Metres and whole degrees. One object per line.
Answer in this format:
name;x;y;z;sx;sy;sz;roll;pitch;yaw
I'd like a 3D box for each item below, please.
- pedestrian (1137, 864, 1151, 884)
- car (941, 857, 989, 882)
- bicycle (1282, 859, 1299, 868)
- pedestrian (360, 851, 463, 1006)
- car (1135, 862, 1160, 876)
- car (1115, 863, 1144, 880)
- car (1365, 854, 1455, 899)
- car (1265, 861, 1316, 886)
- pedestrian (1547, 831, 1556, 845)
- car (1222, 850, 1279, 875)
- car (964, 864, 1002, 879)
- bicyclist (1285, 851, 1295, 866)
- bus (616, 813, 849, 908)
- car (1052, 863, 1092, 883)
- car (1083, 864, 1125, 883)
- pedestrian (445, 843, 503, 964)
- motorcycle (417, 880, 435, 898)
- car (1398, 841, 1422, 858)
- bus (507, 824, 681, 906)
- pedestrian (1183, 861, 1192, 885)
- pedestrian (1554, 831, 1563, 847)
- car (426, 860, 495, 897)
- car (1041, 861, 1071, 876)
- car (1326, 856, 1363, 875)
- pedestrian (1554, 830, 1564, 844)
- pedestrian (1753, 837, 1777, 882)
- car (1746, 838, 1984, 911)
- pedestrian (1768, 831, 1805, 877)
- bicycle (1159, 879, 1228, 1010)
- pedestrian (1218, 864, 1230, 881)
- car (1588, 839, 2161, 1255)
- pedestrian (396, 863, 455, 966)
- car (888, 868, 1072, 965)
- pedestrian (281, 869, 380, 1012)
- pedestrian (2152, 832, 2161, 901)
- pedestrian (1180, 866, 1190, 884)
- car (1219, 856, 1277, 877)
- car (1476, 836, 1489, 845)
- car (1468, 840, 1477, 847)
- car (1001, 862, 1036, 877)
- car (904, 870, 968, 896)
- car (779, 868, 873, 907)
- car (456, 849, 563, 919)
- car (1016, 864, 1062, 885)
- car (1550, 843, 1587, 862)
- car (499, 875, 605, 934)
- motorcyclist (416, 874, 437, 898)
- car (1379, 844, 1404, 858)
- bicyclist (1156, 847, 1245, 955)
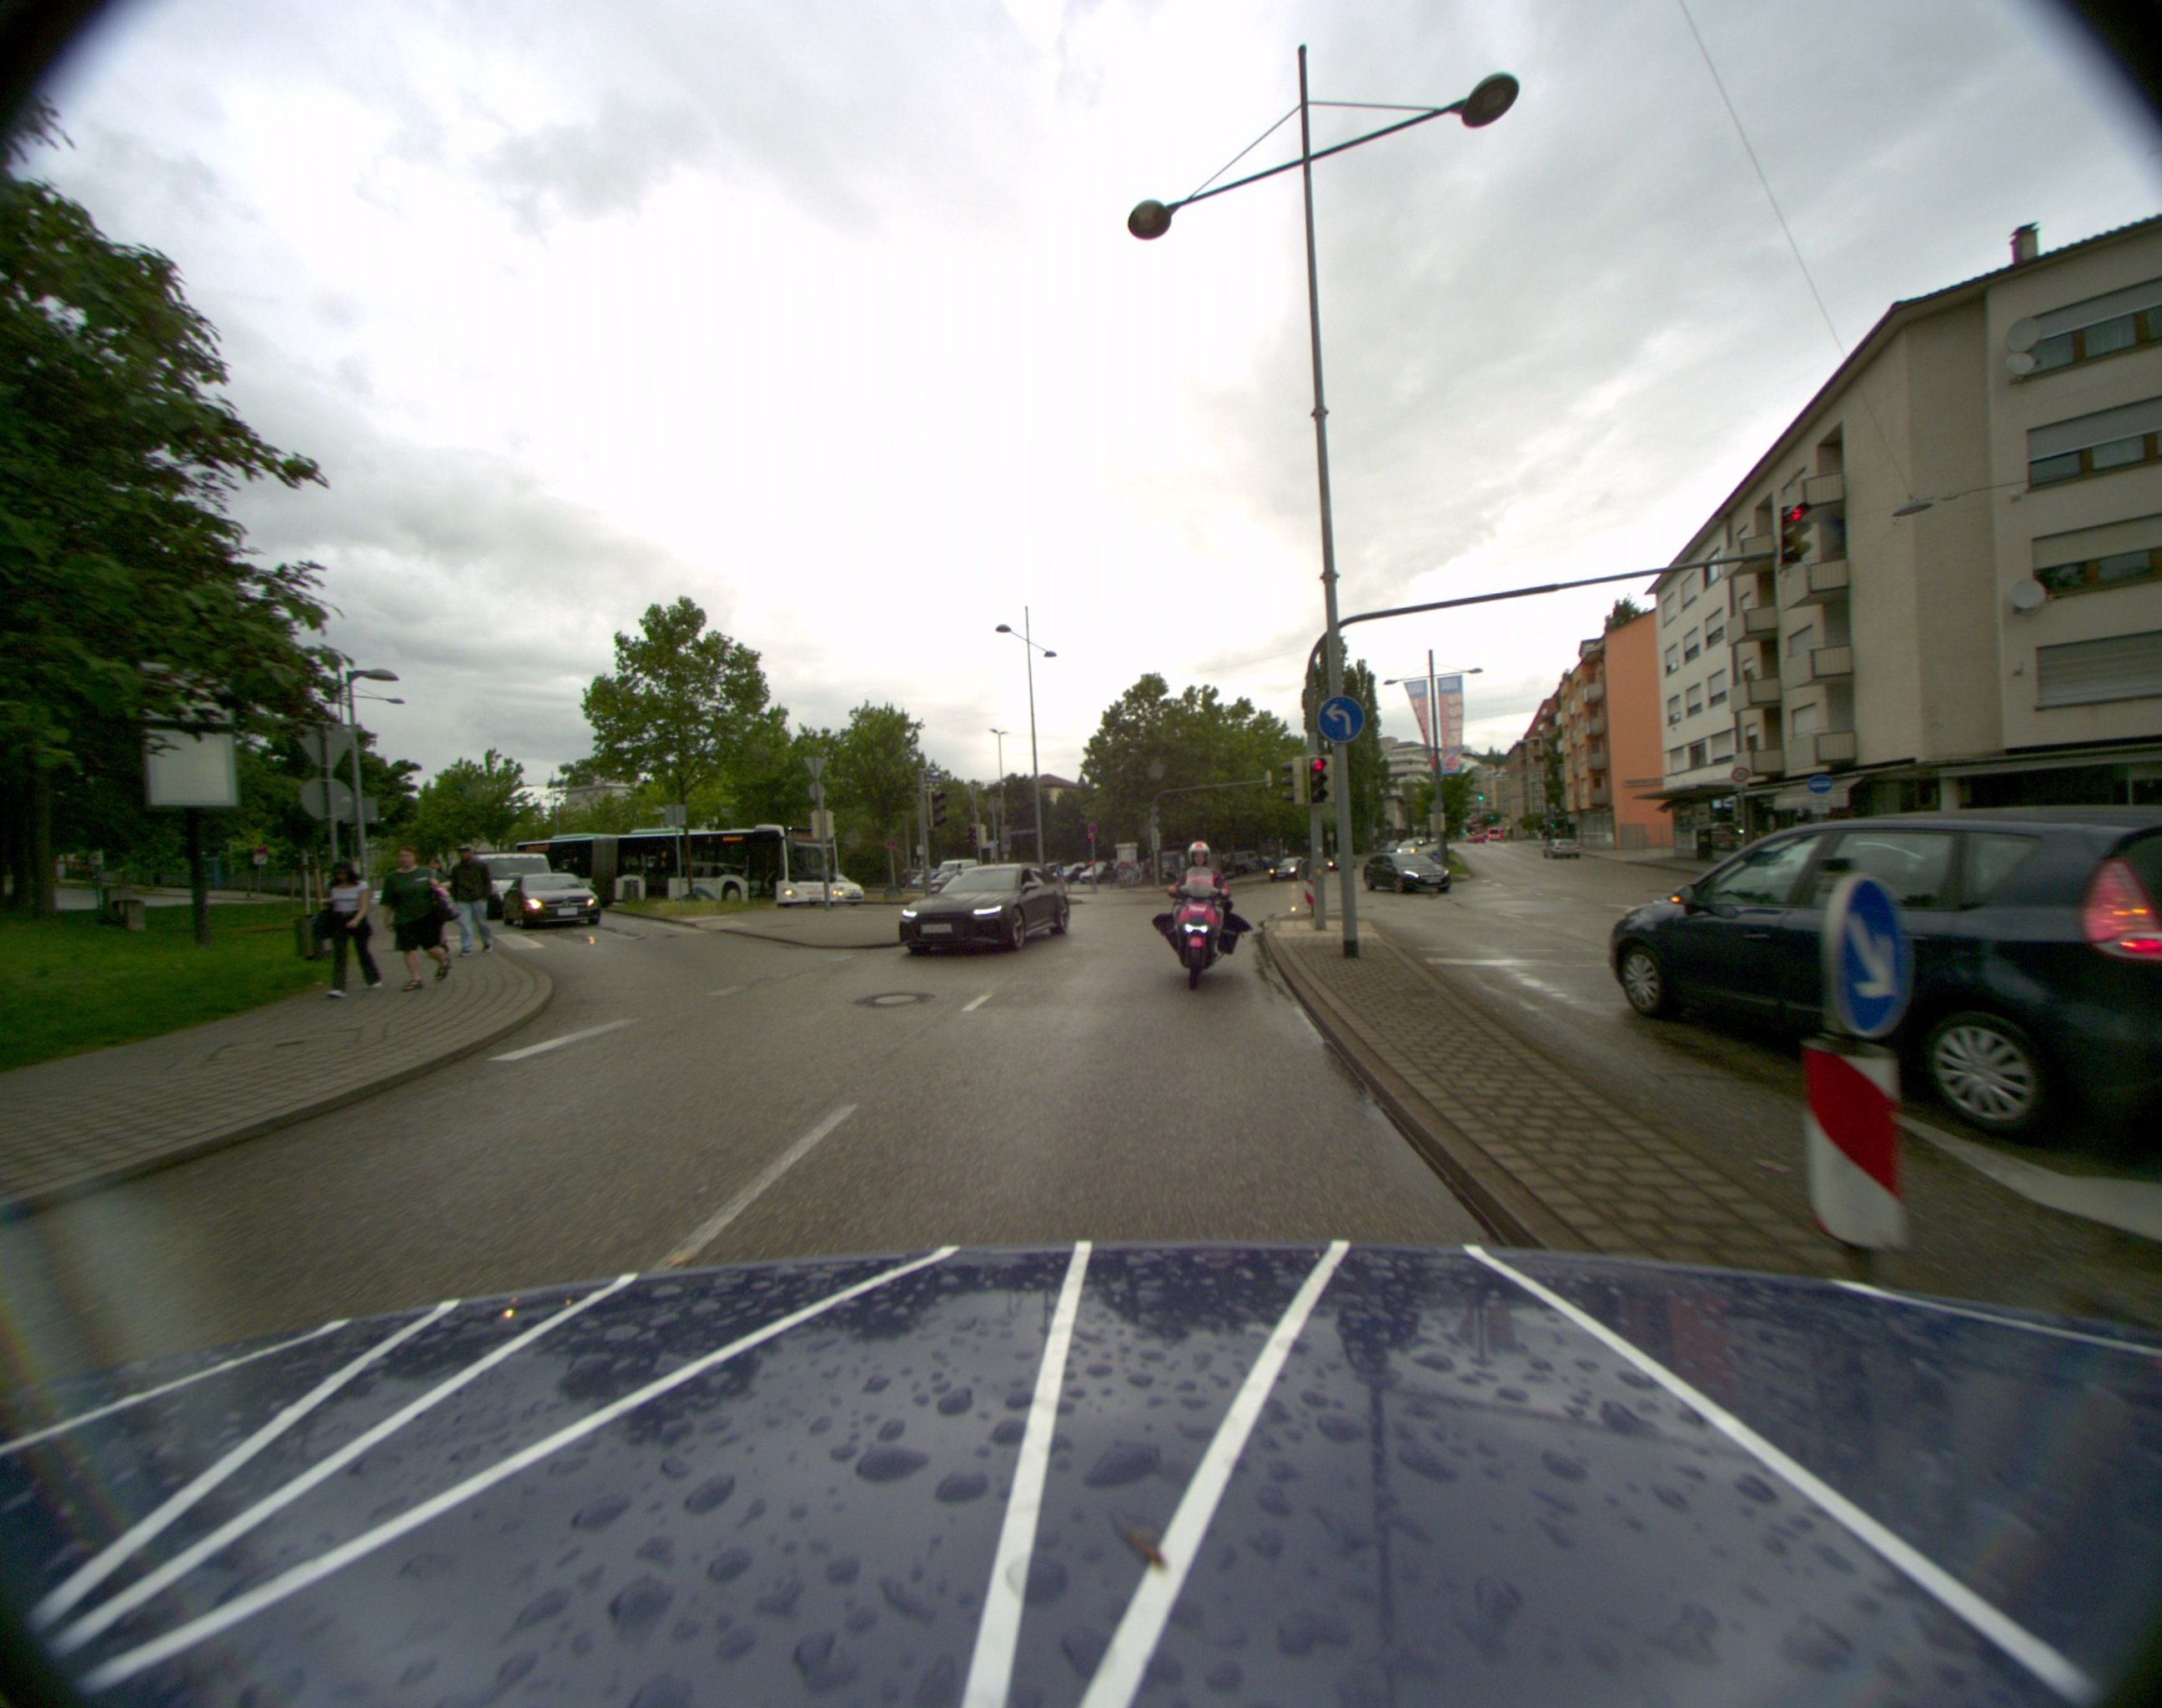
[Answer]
pedestrian;5.144;1.648;62.094;0.765;1.623;0.863;-3;-1;29
car;-10.837;1.422;71.220;1.969;2.306;5.021;-2;-1;24
bicycle;25.964;1.179;94.288;1.930;1.088;0.650;-3;1;11
pedestrian;-8.204;0.877;9.348;0.744;1.819;0.693;1;0;-20
car;6.979;1.535;79.314;1.529;1.419;3.843;-2;-1;22
car;4.734;1.655;74.059;1.637;1.414;3.360;-3;0;25
car;12.124;0.780;28.316;1.803;1.425;4.398;-4;0;6
car;13.139;1.197;47.497;1.893;1.391;4.369;-1;0;31
pedestrian;56.245;-1.919;90.857;0.765;1.685;0.801;-3;1;24
car;16.365;0.839;73.376;4.840;1.931;1.954;-6;-1;30
car;-8.806;1.593;68.451;1.529;1.229;3.639;-2;-1;26
bicyclist;25.897;0.535;94.266;0.986;1.760;0.797;-3;1;11
bus;-13.430;0.307;28.914;9.633;3.197;2.710;-1;0;28
car;-0.723;1.603;64.617;1.758;1.581;4.007;-2;-1;26
car;1.929;1.590;62.792;1.734;1.431;4.452;-2;-1;26
pedestrian;-10.459;0.823;13.108;0.589;2.002;0.786;-1;0;-25
motorcycle;-40.338;2.147;46.779;2.682;1.112;0.572;-2;0;45
car;32.137;-0.429;74.112;1.893;1.567;4.368;-1;0;26
bus;-21.417;0.577;33.268;8.538;3.161;2.693;-3;-1;30
pedestrian;7.679;1.356;54.870;0.540;1.685;0.556;-2;0;13
pedestrian;54.759;-1.724;87.104;0.745;1.876;0.801;-2;1;24
car;-29.900;1.180;36.553;4.862;1.643;2.004;-2;0;45
car;-2.510;1.482;77.578;1.529;1.495;3.639;-2;-1;26
car;21.430;0.902;61.706;1.893;1.413;4.369;-1;0;31
pedestrian;50.557;-1.823;80.413;0.560;1.432;0.610;-6;-1;7
pedestrian;27.007;0.212;30.011;0.452;1.720;0.525;-7;-2;30
car;17.897;0.476;17.492;1.544;1.453;3.620;-3;0;-37
pedestrian;27.933;0.012;30.079;0.778;1.719;0.661;-7;-2;29
bicycle;1.356;1.005;9.330;0.716;1.298;2.429;-1;1;7
pedestrian;11.534;1.481;61.271;0.632;1.314;0.627;-4;1;41
car;5.323;0.745;4.840;1.759;1.605;4.214;-2;0;7
pedestrian;-11.122;1.004;12.907;0.558;1.696;0.528;-1;0;-11
car;-1.635;1.022;14.036;1.894;1.396;4.365;-2;0;13
pedestrian;-8.812;0.978;8.950;0.603;1.590;0.705;0;1;-23
pedestrian;26.531;0.301;18.408;0.529;1.641;0.601;-7;3;-40
pedestrian;7.403;1.524;54.057;0.499;1.263;0.402;-3;-1;30
car;15.243;1.146;69.587;4.743;1.396;1.865;-6;-1;30
car;65.256;-2.258;123.585;1.604;1.422;3.951;0;2;24
car;82.012;-2.182;159.093;1.568;1.385;3.840;-1;1;26
car;-7.071;1.739;86.490;1.969;1.660;4.639;-2;-1;24
car;-9.345;1.876;49.326;1.852;1.432;4.270;-2;0;27
car;-10.416;1.379;31.027;3.560;1.442;1.593;-3;-1;27
car;-20.728;0.991;27.416;2.260;2.221;6.324;-2;1;-44
car;-3.252;1.590;60.200;1.758;1.581;4.184;-2;-1;26
car;36.512;-0.134;56.998;1.677;1.384;4.158;0;1;24
car;-14.778;1.312;21.137;1.799;1.366;4.085;-2;1;-43
motorcyclist;-40.259;1.983;46.732;1.237;1.429;0.808;-2;0;45
car;34.329;-0.344;83.924;1.893;1.479;4.369;-1;0;31
bicyclist;1.457;0.575;9.253;0.962;1.218;0.716;-3;-3;10
